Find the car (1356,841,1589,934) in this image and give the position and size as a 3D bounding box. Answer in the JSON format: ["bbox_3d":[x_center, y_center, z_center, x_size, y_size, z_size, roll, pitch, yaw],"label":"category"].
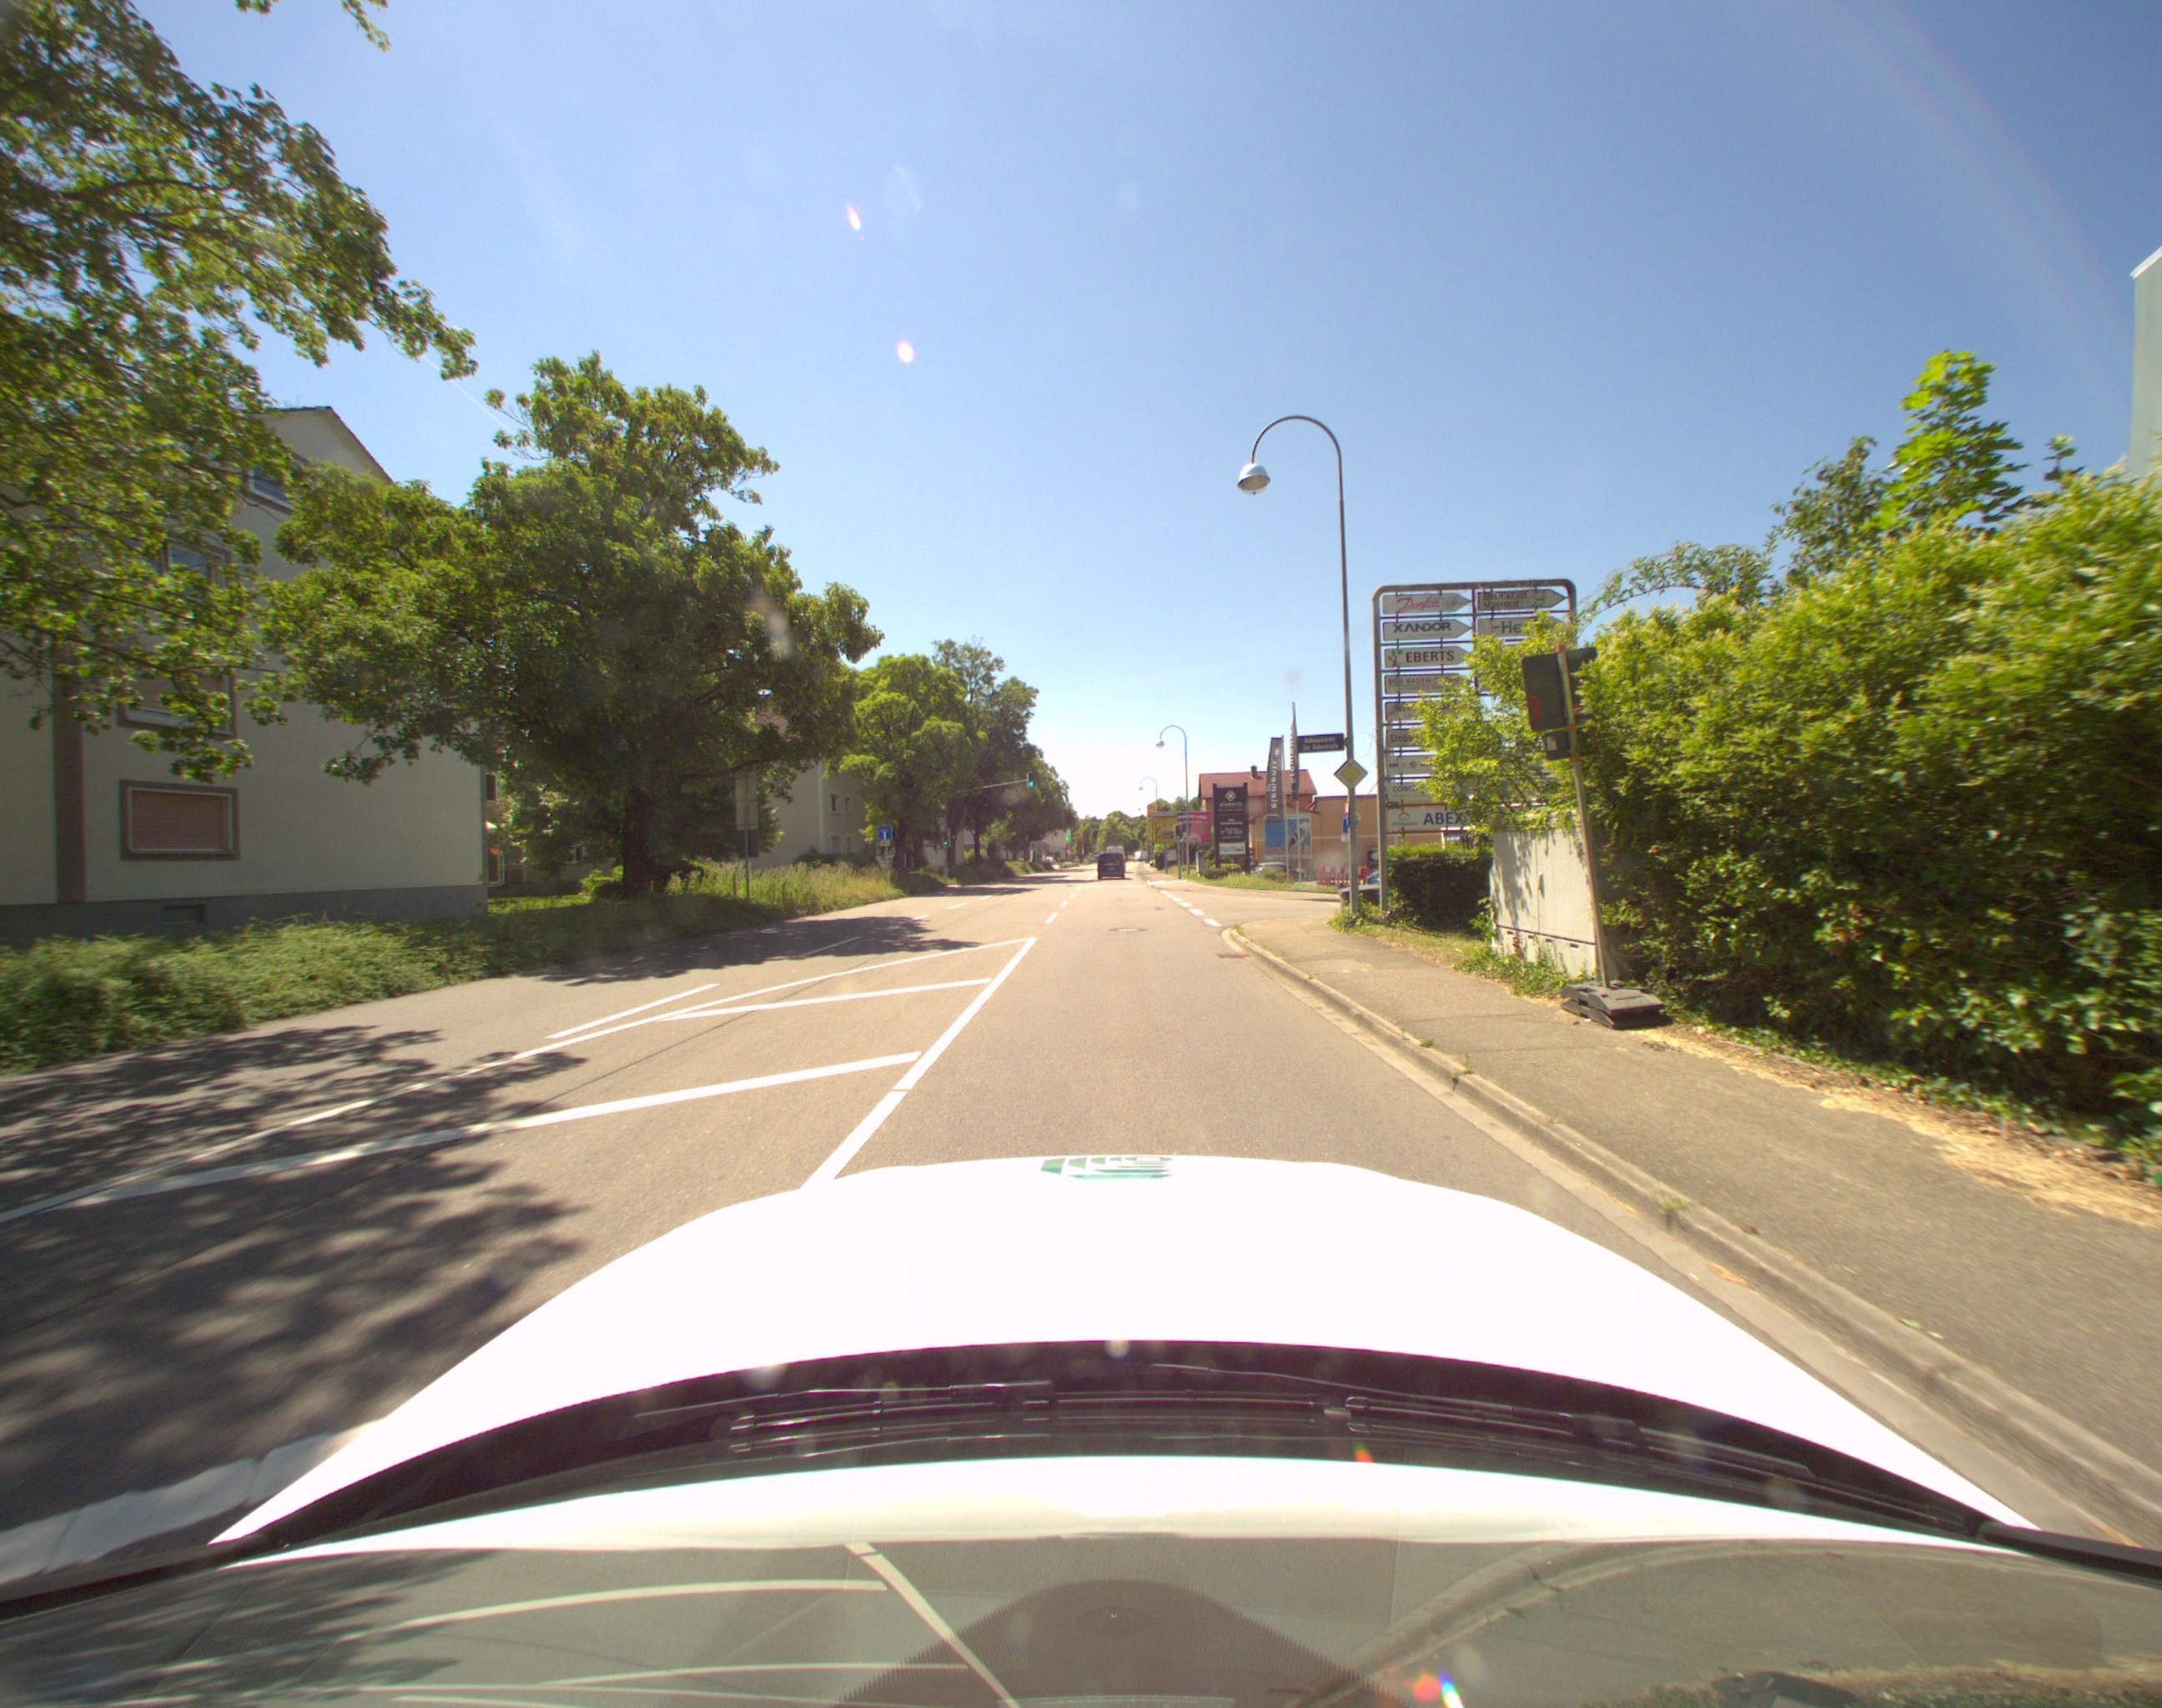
[{"bbox_3d":[8.014,0.674,17.075,4.040,1.514,1.862,4,-1,13],"label":"car"}]

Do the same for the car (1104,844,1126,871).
[{"bbox_3d":[3.421,0.336,82.405,2.111,2.678,5.666,-1,0,3],"label":"car"}]

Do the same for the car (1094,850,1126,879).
[{"bbox_3d":[1.971,0.706,55.777,1.988,1.893,3.999,-1,0,-1],"label":"car"}]

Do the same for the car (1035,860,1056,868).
[{"bbox_3d":[-7.330,2.024,168.764,3.960,1.662,2.007,-1,0,12],"label":"car"}]

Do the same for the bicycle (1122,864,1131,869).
[{"bbox_3d":[8.997,2.428,162.344,1.712,0.887,0.557,-2,2,-4],"label":"bicycle"}]

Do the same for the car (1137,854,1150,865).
[{"bbox_3d":[14.608,1.334,190.803,2.347,2.547,4.951,-1,0,-3],"label":"car"}]

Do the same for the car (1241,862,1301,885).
[{"bbox_3d":[14.463,1.494,62.092,4.253,1.646,1.892,-1,0,4],"label":"car"}]

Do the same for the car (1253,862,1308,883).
[{"bbox_3d":[16.542,1.557,67.659,4.234,1.599,1.895,-2,0,9],"label":"car"}]

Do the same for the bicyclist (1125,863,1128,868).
[{"bbox_3d":[9.077,2.286,162.380,0.470,0.853,0.554,-2,2,-21],"label":"bicyclist"}]
